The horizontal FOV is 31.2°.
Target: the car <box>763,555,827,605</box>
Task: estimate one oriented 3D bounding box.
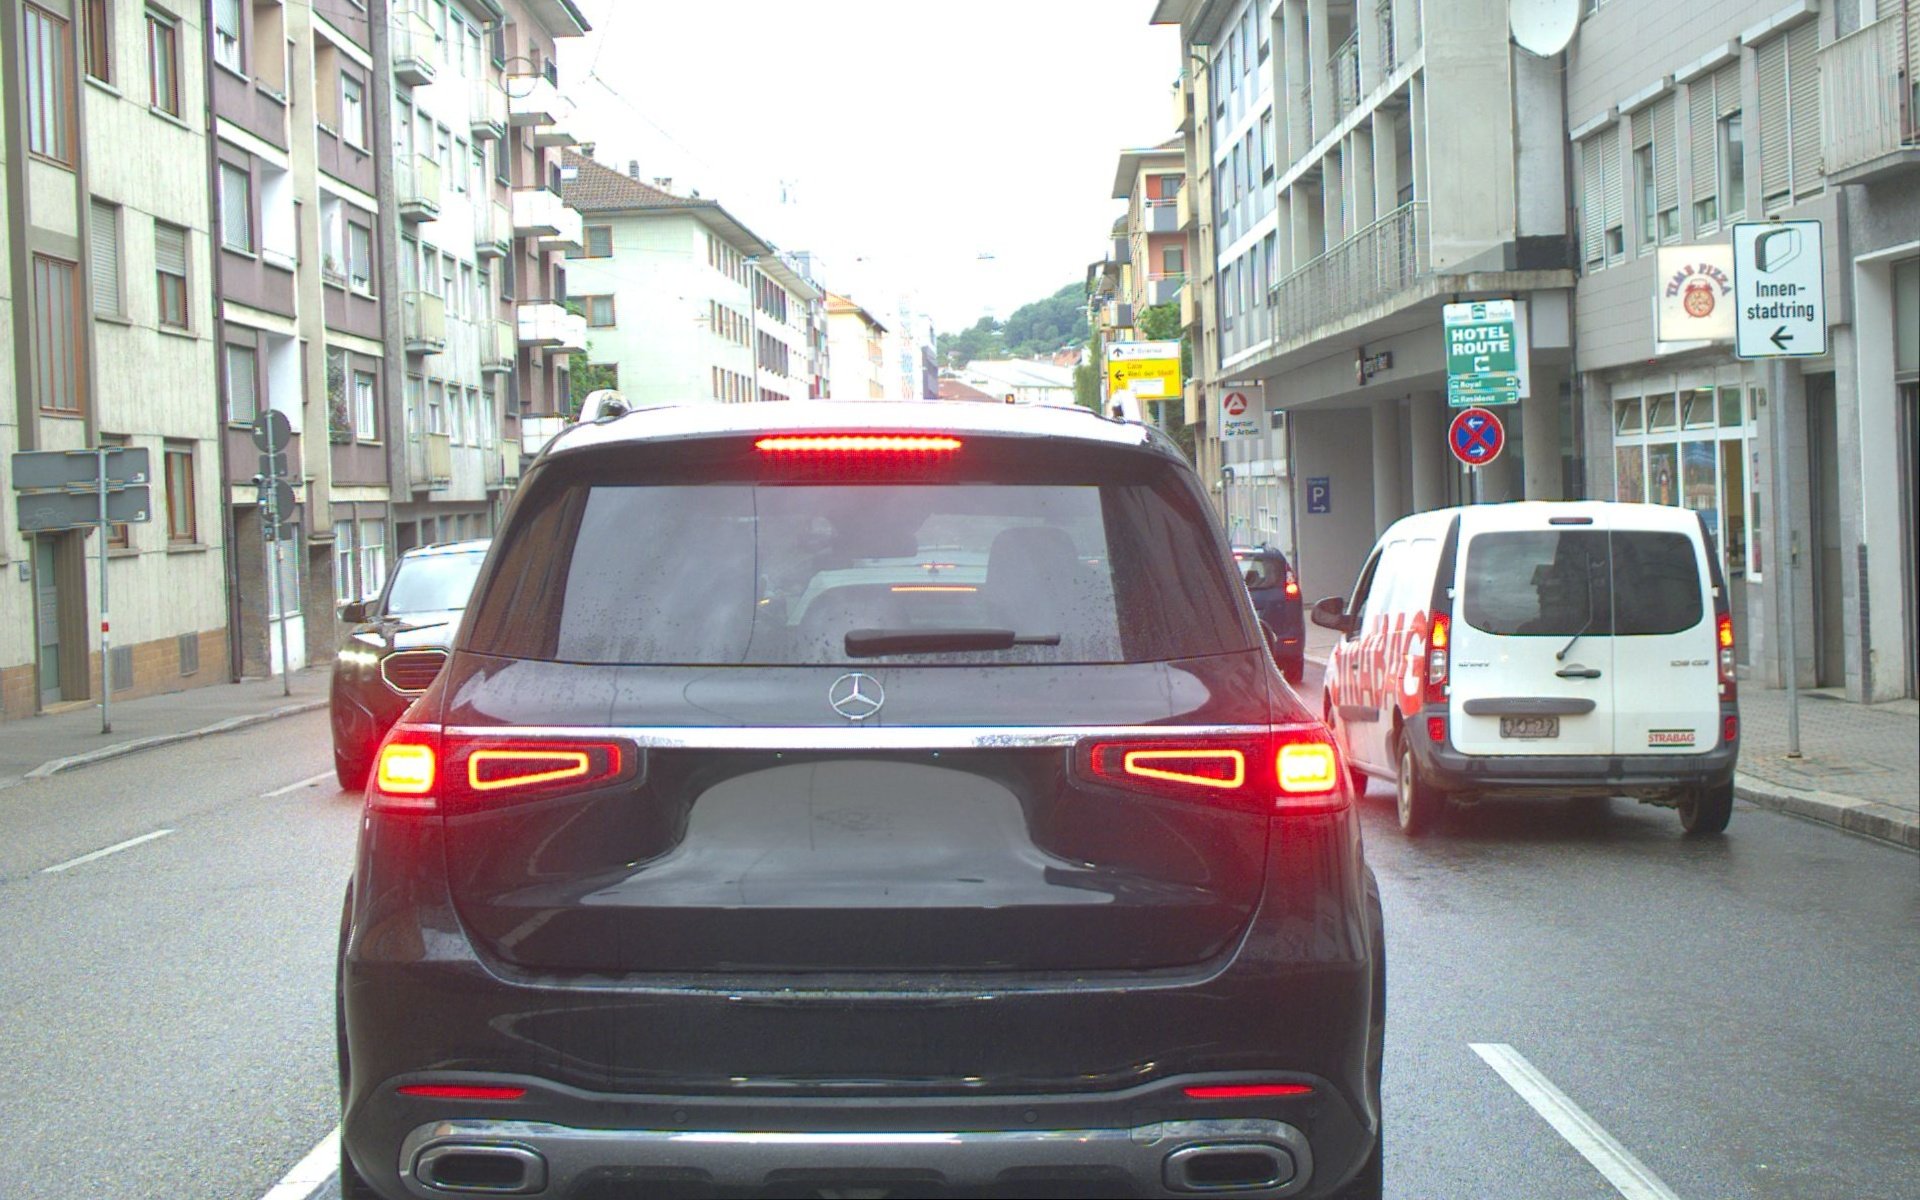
[{"bbox_3d":[-4.978,-0.631,104.115,1.724,1.385,4.339,-3,1,-1],"label":"car"}]

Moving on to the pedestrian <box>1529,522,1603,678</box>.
[{"bbox_3d":[6.305,-0.007,35.778,0.560,1.573,0.526,-4,1,-1],"label":"pedestrian"}]

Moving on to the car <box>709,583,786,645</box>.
[{"bbox_3d":[-5.401,0.342,87.602,1.767,1.341,3.889,-5,1,-2],"label":"car"}]

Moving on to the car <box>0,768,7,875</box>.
[{"bbox_3d":[-5.971,0.767,16.323,1.797,1.579,4.317,-4,1,-3],"label":"car"}]

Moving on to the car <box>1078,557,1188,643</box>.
[{"bbox_3d":[3.021,-0.024,60.648,1.621,1.425,4.312,1,1,-1],"label":"car"}]

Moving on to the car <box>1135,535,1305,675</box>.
[{"bbox_3d":[3.077,0.026,41.376,1.808,1.600,4.212,0,1,1],"label":"car"}]

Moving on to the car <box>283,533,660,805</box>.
[{"bbox_3d":[-3.512,0.425,25.658,2.126,1.715,4.818,-3,1,-1],"label":"car"}]

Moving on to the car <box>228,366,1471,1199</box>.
[{"bbox_3d":[-0.224,0.498,7.663,2.025,1.799,4.000,1,1,-1],"label":"car"}]

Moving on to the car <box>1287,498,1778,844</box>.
[{"bbox_3d":[3.161,0.328,20.000,1.940,1.769,4.747,0,1,-2],"label":"car"}]
